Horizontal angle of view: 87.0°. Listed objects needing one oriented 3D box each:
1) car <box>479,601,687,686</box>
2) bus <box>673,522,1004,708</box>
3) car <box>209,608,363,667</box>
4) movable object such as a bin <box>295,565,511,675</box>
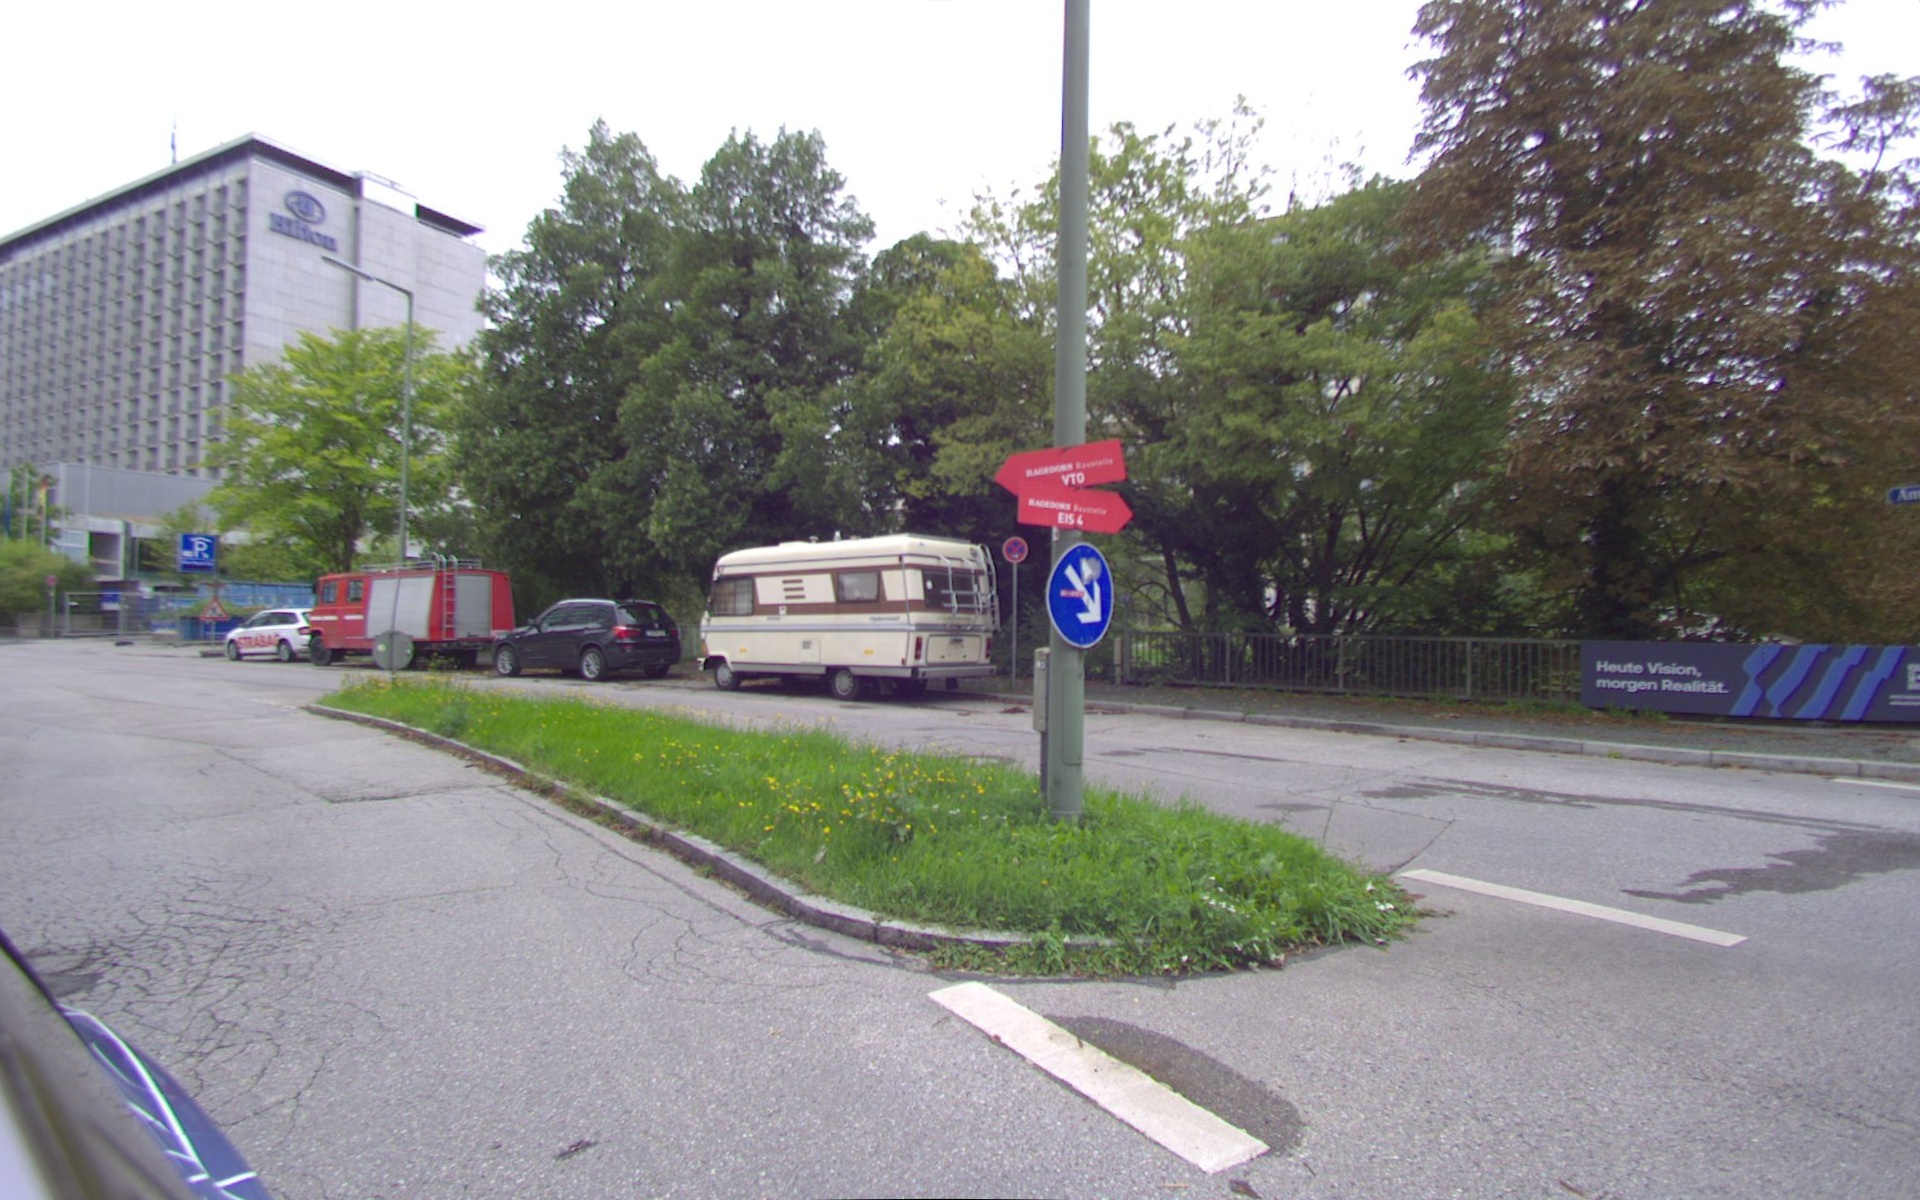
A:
[{"bbox_3d":[-8.073,0.877,21.577,4.443,1.662,1.763,0,-2,31],"label":"car"},{"bbox_3d":[-2.234,0.272,17.478,5.727,2.719,2.293,0,-2,38],"label":"bus"},{"bbox_3d":[-19.281,1.036,28.930,4.235,1.561,1.766,0,-2,27],"label":"car"},{"bbox_3d":[-13.992,0.487,25.270,6.170,2.477,2.087,0,-2,34],"label":"movable object such as a bin"}]
